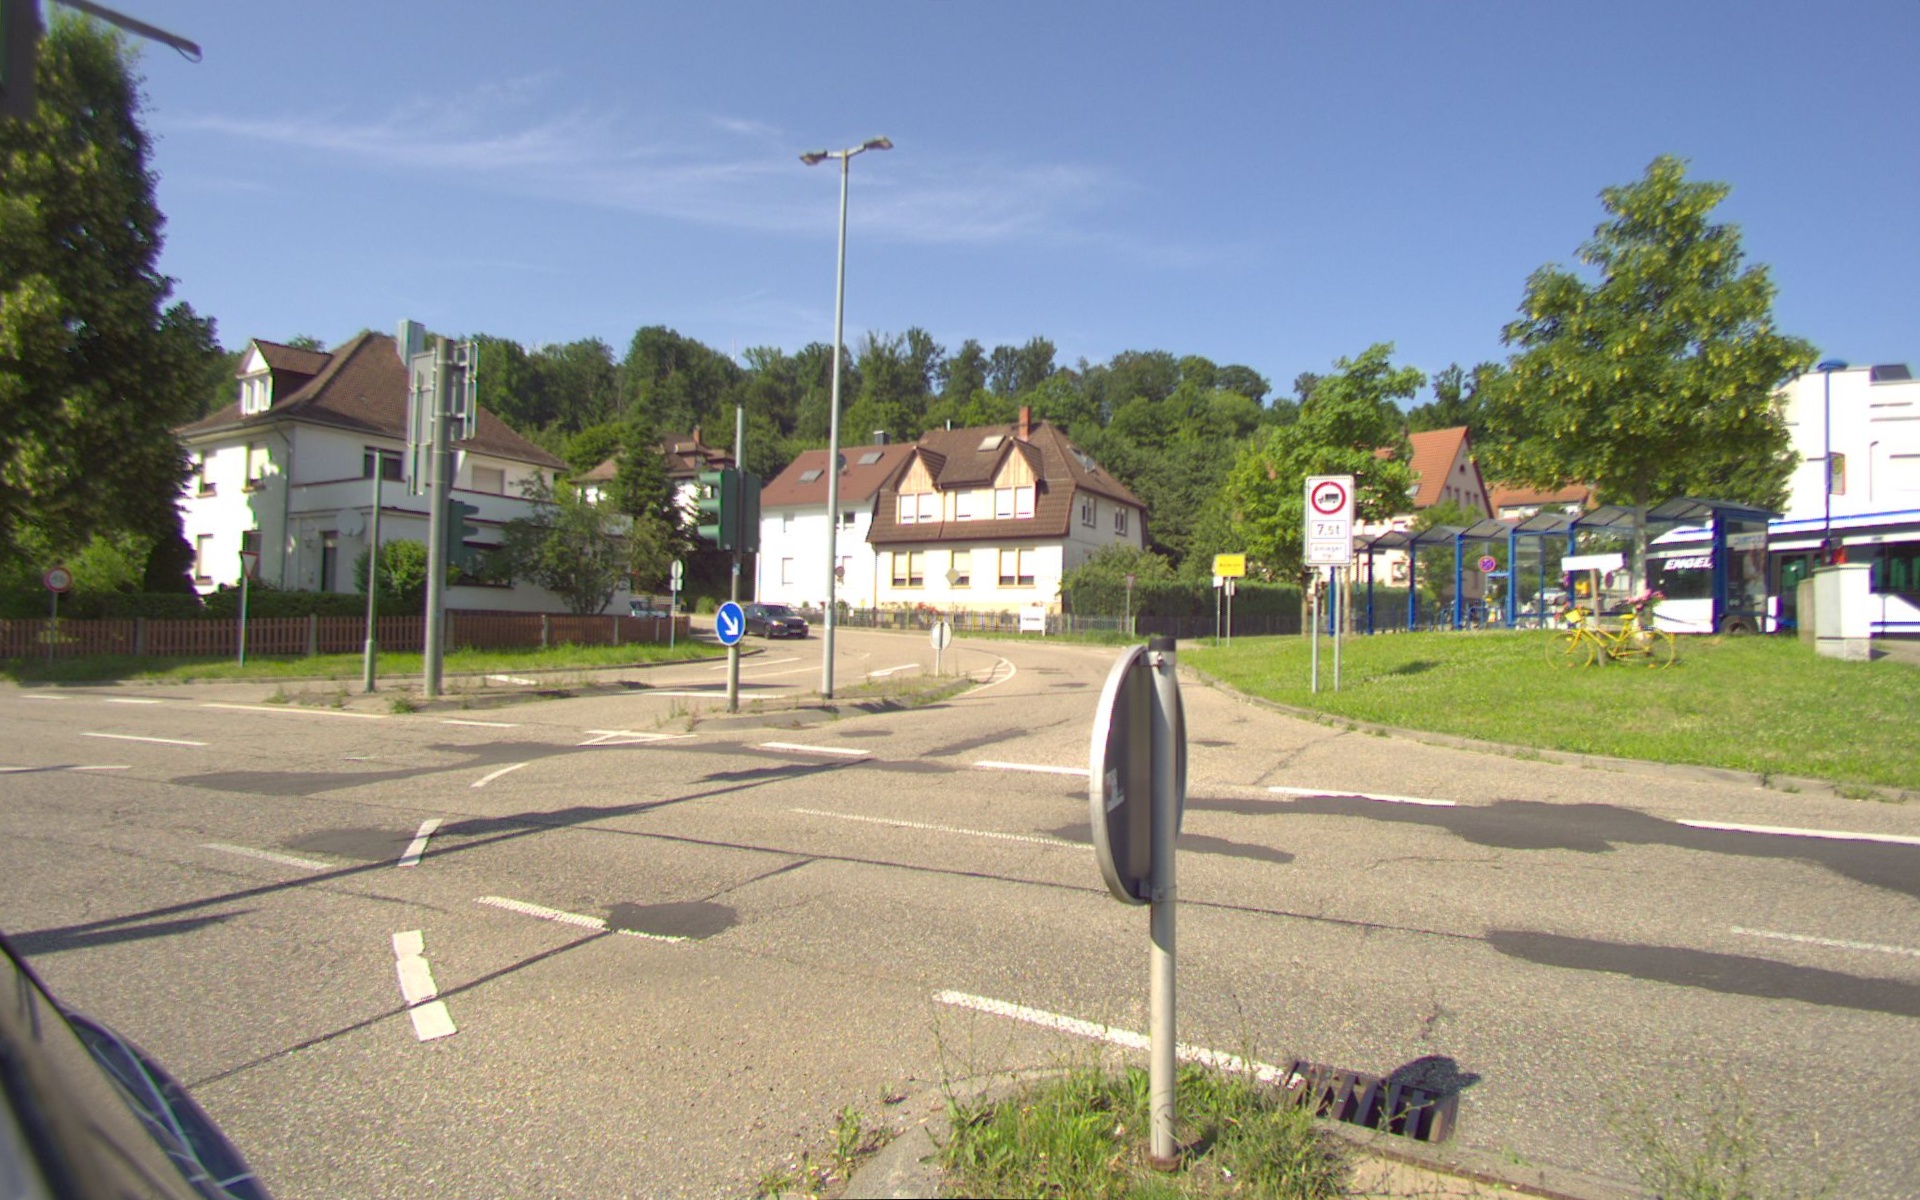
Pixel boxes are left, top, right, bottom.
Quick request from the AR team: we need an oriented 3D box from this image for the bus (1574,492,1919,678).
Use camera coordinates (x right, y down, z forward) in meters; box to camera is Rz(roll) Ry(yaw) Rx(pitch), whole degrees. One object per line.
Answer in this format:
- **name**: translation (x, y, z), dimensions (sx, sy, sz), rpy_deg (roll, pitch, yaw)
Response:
- **bus**: translation (20.182, -0.293, 22.322), dimensions (2.820, 3.742, 12.256), rpy_deg (-1, -1, -19)

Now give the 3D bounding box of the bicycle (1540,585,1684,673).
- **bicycle**: translation (10.155, 0.469, 15.801), dimensions (1.756, 1.265, 0.612), rpy_deg (-4, 0, 41)

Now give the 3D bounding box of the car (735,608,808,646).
- **car**: translation (-8.198, 1.159, 43.741), dimensions (1.966, 1.519, 4.012), rpy_deg (-1, -1, -28)

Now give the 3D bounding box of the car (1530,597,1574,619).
- **car**: translation (49.575, 0.692, 84.763), dimensions (3.938, 1.822, 2.003), rpy_deg (0, -1, -41)

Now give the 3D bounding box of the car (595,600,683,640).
- **car**: translation (-14.388, 0.908, 45.254), dimensions (3.997, 1.649, 1.914), rpy_deg (-2, -1, 40)
